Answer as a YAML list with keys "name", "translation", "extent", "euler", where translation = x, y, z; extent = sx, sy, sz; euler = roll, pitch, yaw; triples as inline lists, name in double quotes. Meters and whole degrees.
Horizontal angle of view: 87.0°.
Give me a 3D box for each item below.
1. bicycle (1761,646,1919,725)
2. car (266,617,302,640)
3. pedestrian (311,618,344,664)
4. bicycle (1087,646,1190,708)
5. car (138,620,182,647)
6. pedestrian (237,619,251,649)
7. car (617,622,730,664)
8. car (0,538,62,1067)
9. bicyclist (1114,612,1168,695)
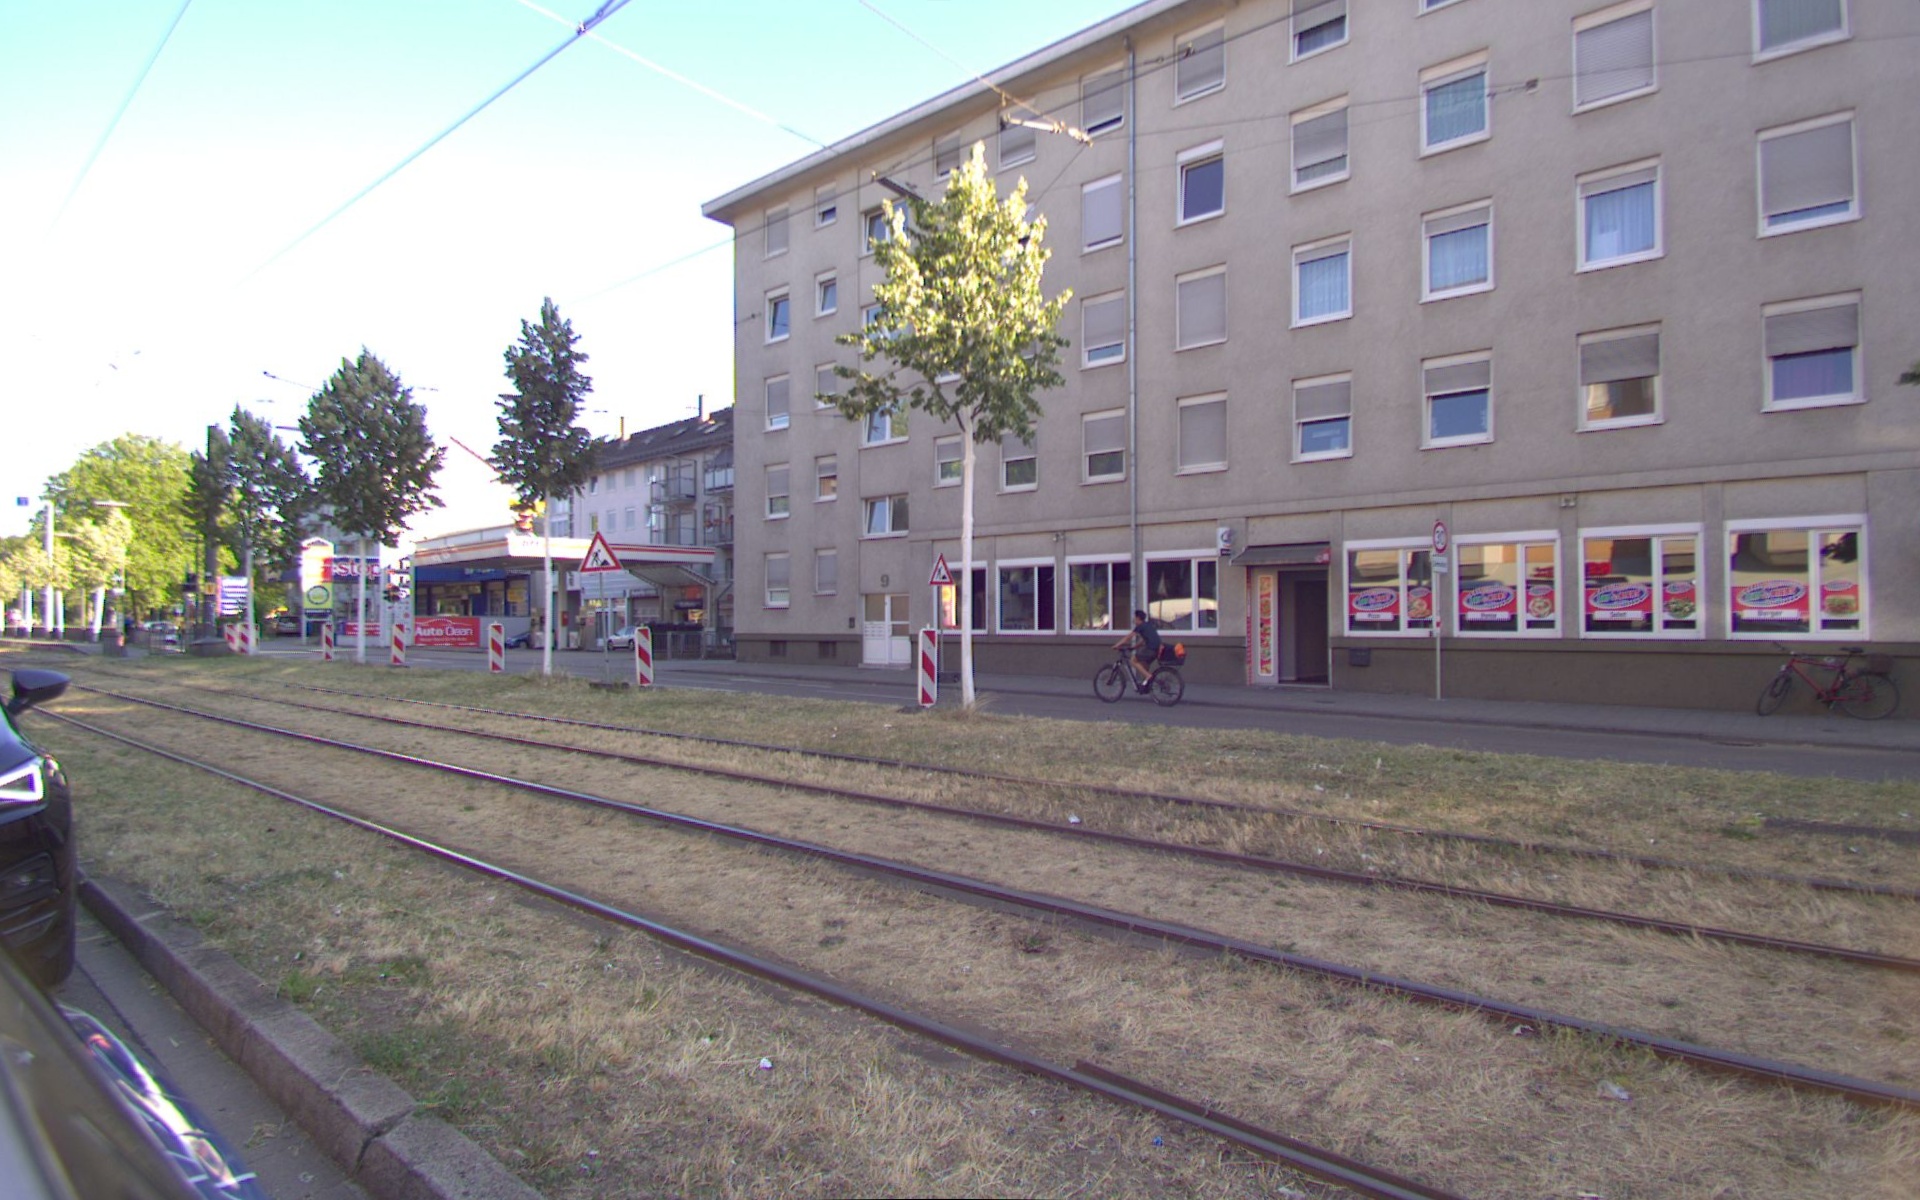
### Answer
- name: "bicycle"
  translation: [12.817, 1.215, 14.679]
  extent: [1.844, 1.031, 0.601]
  euler: [-1, 0, 41]
- name: "car"
  translation: [-49.993, 2.096, 74.787]
  extent: [1.756, 1.567, 4.006]
  euler: [-1, 0, -40]
- name: "pedestrian"
  translation: [-18.309, 1.187, 29.284]
  extent: [0.581, 1.280, 0.655]
  euler: [-3, -1, 42]
- name: "bicycle"
  translation: [3.208, 1.370, 18.339]
  extent: [1.859, 1.052, 0.441]
  euler: [-2, -2, 40]
- name: "car"
  translation: [-52.158, 2.173, 65.976]
  extent: [3.828, 1.622, 1.701]
  euler: [-1, 0, 43]
- name: "pedestrian"
  translation: [-47.769, 2.266, 67.554]
  extent: [0.583, 2.029, 0.623]
  euler: [-2, -2, 42]
- name: "car"
  translation: [-10.747, 1.612, 38.097]
  extent: [1.906, 1.481, 3.680]
  euler: [-4, -4, 40]
- name: "car"
  translation: [-5.063, 0.706, 3.995]
  extent: [3.998, 1.690, 1.752]
  euler: [-2, 1, 41]
- name: "bicyclist"
  translation: [3.272, 0.945, 18.294]
  extent: [0.649, 1.457, 0.769]
  euler: [-2, -2, 41]
